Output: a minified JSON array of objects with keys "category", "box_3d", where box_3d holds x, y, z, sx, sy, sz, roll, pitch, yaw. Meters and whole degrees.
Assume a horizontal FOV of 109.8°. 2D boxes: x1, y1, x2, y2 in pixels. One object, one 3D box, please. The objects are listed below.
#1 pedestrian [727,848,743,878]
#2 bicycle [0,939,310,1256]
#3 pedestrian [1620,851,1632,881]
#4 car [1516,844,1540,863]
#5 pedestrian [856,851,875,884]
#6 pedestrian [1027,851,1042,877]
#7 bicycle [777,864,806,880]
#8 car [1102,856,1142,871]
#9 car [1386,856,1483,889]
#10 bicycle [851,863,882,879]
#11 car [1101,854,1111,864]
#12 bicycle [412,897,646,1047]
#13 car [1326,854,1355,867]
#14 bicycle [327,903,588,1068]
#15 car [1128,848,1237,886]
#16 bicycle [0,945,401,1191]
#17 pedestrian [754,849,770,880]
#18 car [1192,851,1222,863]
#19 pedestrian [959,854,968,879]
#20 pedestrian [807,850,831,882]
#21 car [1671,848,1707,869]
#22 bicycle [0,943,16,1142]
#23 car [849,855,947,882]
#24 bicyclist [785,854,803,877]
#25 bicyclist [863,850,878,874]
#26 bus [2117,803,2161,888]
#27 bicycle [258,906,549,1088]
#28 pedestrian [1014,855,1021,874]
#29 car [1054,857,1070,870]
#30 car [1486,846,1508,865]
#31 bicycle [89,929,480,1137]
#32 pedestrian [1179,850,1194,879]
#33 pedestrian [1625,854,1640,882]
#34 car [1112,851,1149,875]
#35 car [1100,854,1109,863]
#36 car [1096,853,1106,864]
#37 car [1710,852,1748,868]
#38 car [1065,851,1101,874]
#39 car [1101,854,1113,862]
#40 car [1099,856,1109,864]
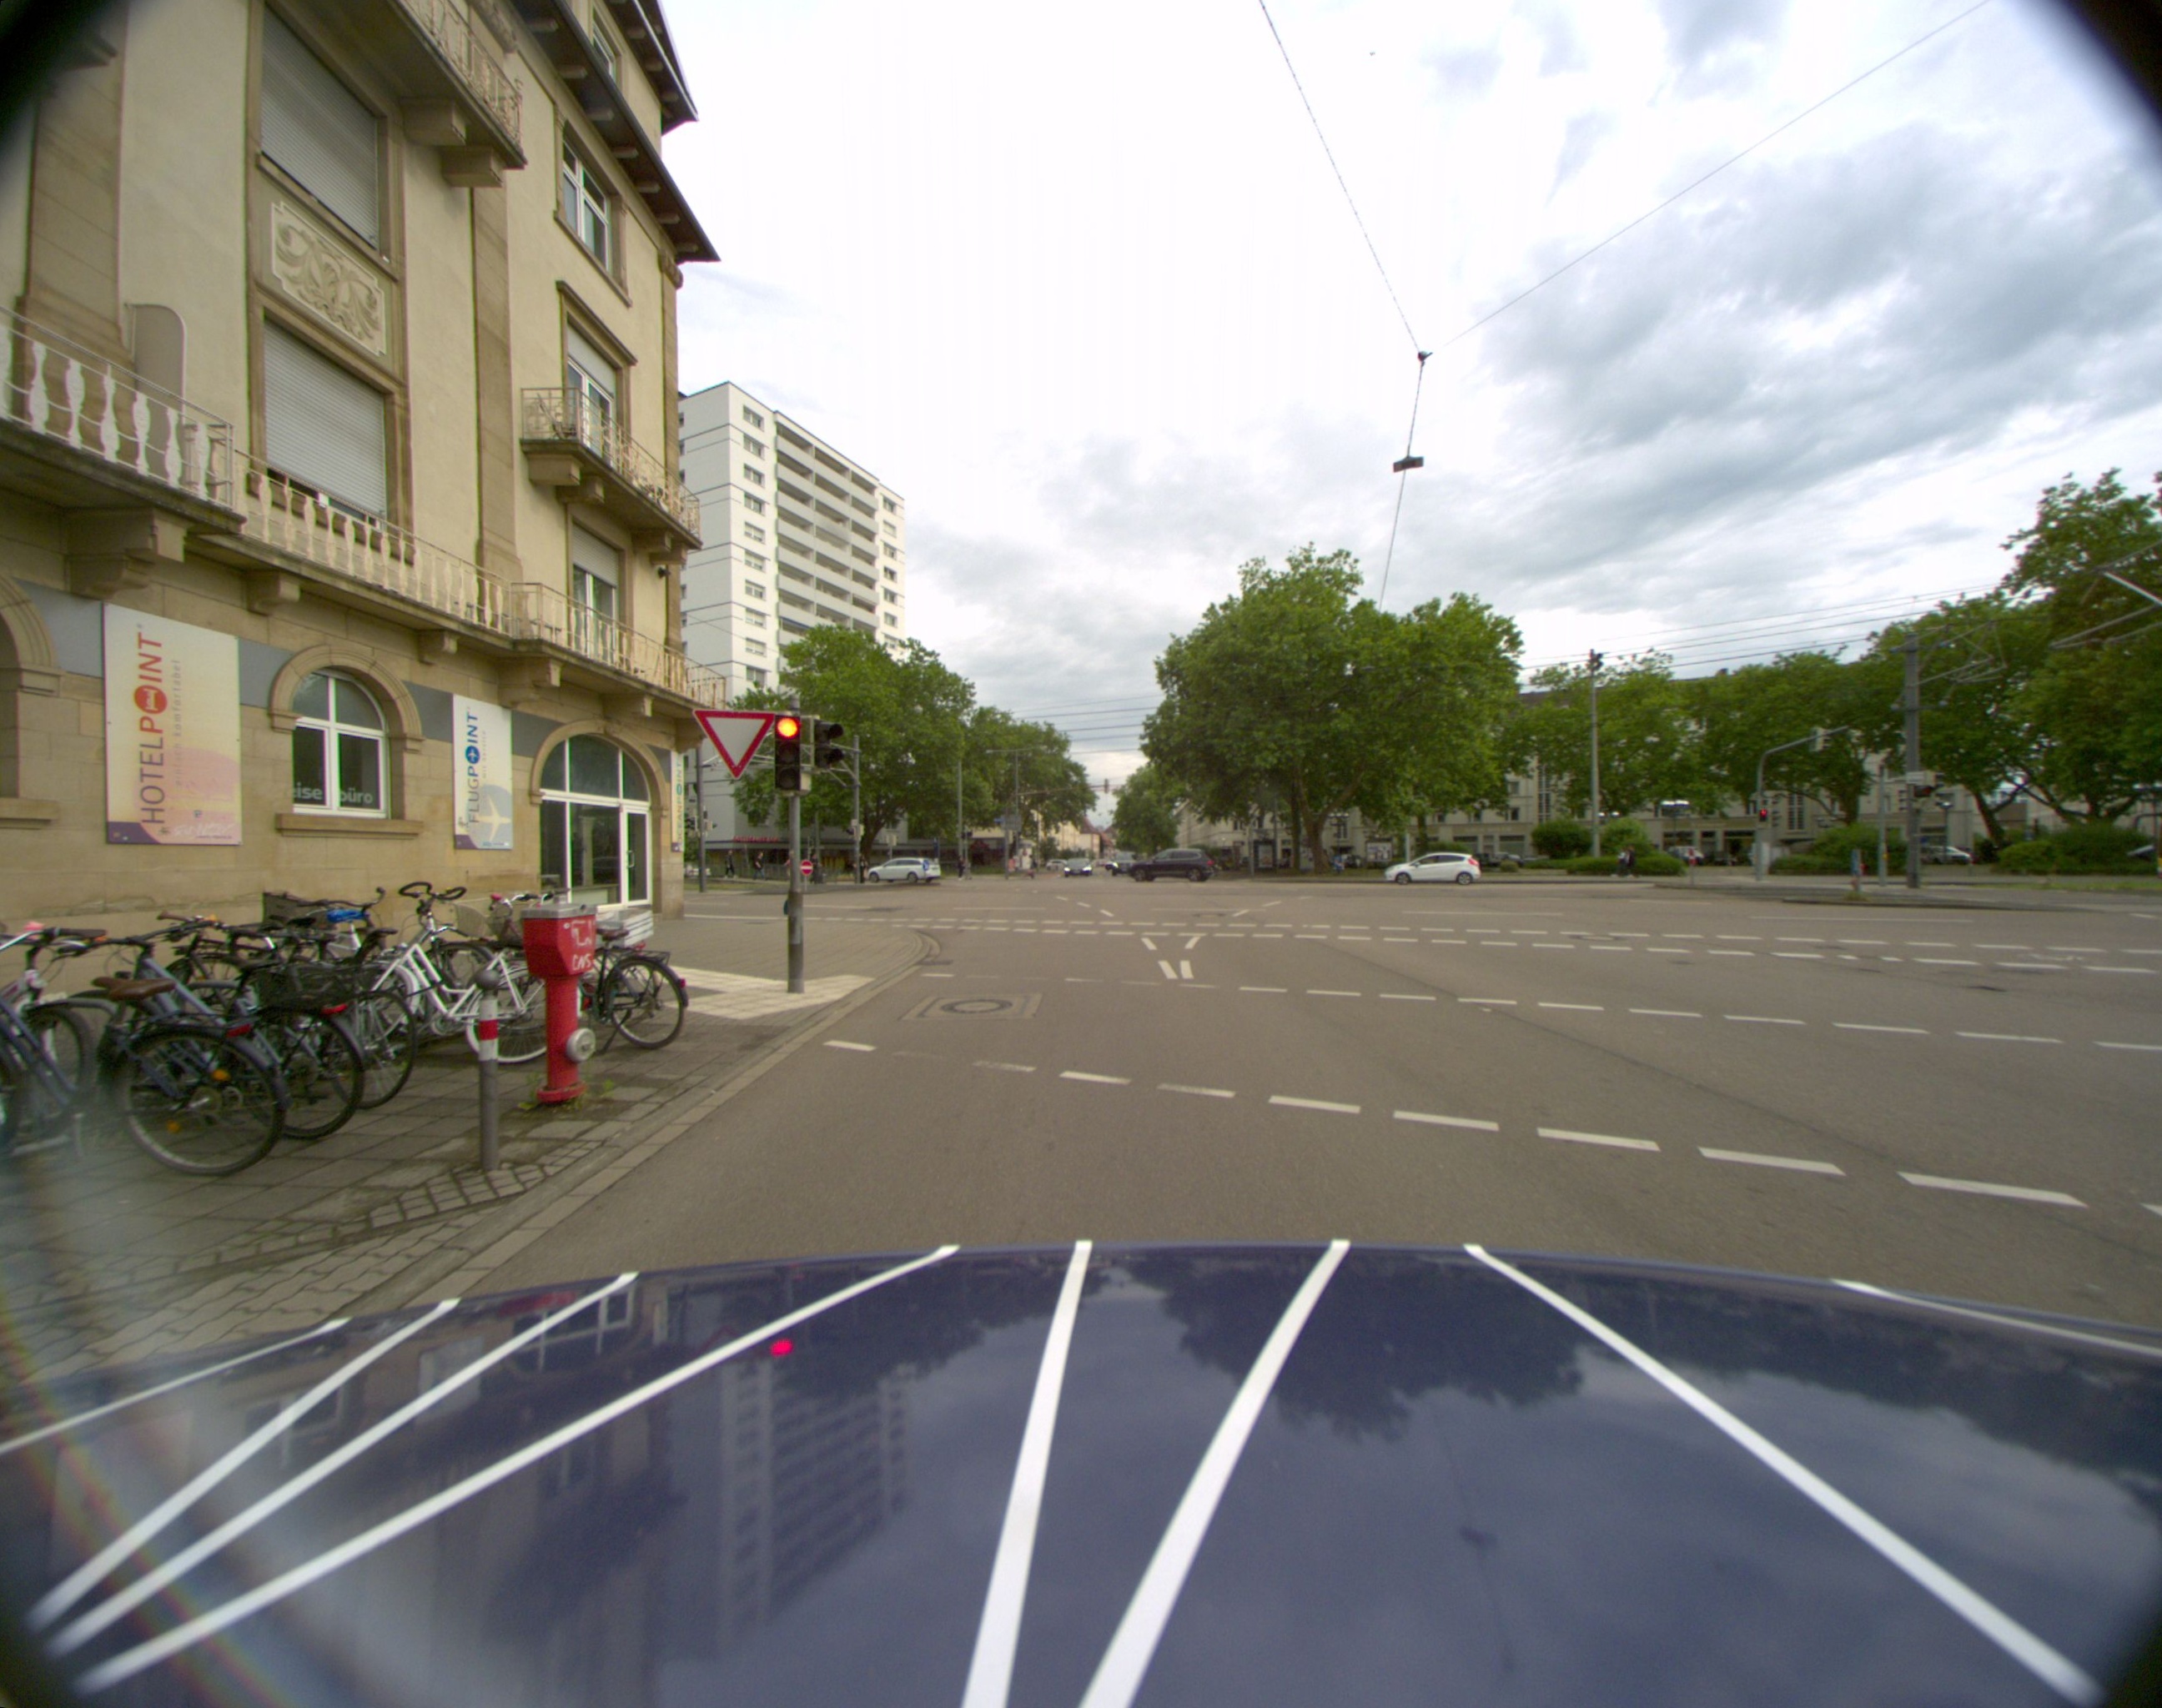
[{"category":"pedestrian","box_3d":[-20.675,0.557,45.416,0.533,1.779,0.623,-1,2,25]},{"category":"bicycle","box_3d":[-4.333,0.993,3.246,1.571,1.166,0.476,2,2,-1]},{"category":"pedestrian","box_3d":[26.522,0.580,36.992,0.373,1.470,0.362,-1,1,18]},{"category":"car","box_3d":[48.034,-0.029,81.726,1.995,2.002,4.007,0,0,27]},{"category":"pedestrian","box_3d":[-11.659,0.746,41.114,0.626,1.740,0.657,0,2,27]},{"category":"pedestrian","box_3d":[-3.137,0.675,51.148,0.754,1.680,0.808,-1,1,20]},{"category":"bicycle","box_3d":[-20.573,1.278,54.061,1.988,1.058,0.731,0,-1,24]},{"category":"car","box_3d":[4.949,1.142,90.815,4.842,1.654,1.994,-1,0,-43]},{"category":"car","box_3d":[15.916,0.827,34.302,3.880,1.390,1.710,-1,2,25]},{"category":"bicycle","box_3d":[-14.320,1.125,50.762,1.988,1.058,0.731,0,-1,25]},{"category":"car","box_3d":[5.831,1.162,178.112,1.998,2.002,4.000,-1,1,5]},{"category":"bicycle","box_3d":[-4.538,0.957,6.294,1.571,1.121,0.476,2,2,-1]},{"category":"car","box_3d":[27.076,0.660,79.486,1.997,1.381,4.835,-1,0,8]},{"category":"bicycle","box_3d":[-4.710,0.980,5.791,1.571,1.121,0.476,2,2,-1]},{"category":"car","box_3d":[5.110,0.631,38.280,5.136,1.773,1.710,-1,2,25]},{"category":"bicycle","box_3d":[-4.460,1.025,3.758,1.737,1.033,0.476,2,2,-1]},{"category":"pedestrian","box_3d":[-18.294,0.609,43.568,0.547,1.741,0.623,-1,2,25]},{"category":"car","box_3d":[15.978,0.402,96.735,1.805,1.477,3.991,-1,0,-25]},{"category":"pedestrian","box_3d":[-7.674,0.812,49.674,0.524,1.603,0.526,-2,2,-7]},{"category":"pedestrian","box_3d":[-14.164,0.654,41.073,0.876,1.686,0.744,-1,2,25]},{"category":"car","box_3d":[60.833,0.415,76.074,1.995,2.002,4.007,0,0,27]},{"category":"bicycle","box_3d":[-6.489,0.959,3.754,1.737,1.033,0.476,2,2,-1]},{"category":"car","box_3d":[-10.927,0.870,45.374,5.688,1.516,1.850,-1,-1,23]},{"category":"bicyclist","box_3d":[-20.381,0.829,53.982,0.992,1.627,0.709,-1,-1,24]},{"category":"bicyclist","box_3d":[-14.071,0.548,50.732,0.755,1.552,0.586,-1,-1,25]},{"category":"bus","box_3d":[41.657,-0.371,22.842,12.349,2.840,3.297,-1,2,25]},{"category":"bicycle","box_3d":[-4.662,0.970,5.276,1.571,1.121,0.476,2,2,-1]},{"category":"pedestrian","box_3d":[-4.596,0.793,55.190,0.417,1.357,0.391,-1,2,-3]},{"category":"car","box_3d":[-2.559,1.211,101.476,1.998,1.543,3.908,-1,1,0]},{"category":"car","box_3d":[45.754,0.120,83.549,1.995,2.002,4.007,0,0,27]},{"category":"bicycle","box_3d":[-4.554,1.010,4.405,1.737,1.033,0.476,2,2,-1]},{"category":"pedestrian","box_3d":[7.024,0.709,50.688,0.690,1.876,0.687,-2,2,-28]},{"category":"pedestrian","box_3d":[26.285,0.658,36.215,0.469,1.318,0.457,-1,1,18]},{"category":"car","box_3d":[3.750,0.692,57.133,1.909,1.708,3.746,-1,-2,18]},{"category":"car","box_3d":[5.780,1.183,184.046,1.998,2.002,4.000,-1,1,5]},{"category":"car","box_3d":[3.968,0.887,152.452,1.998,2.002,3.999,-1,1,1]},{"category":"car","box_3d":[64.091,0.600,75.184,1.995,1.565,4.007,0,0,27]},{"category":"car","box_3d":[0.215,0.675,57.886,1.660,1.708,3.746,-1,-2,18]},{"category":"car","box_3d":[6.845,0.981,199.498,1.996,2.002,4.004,-1,2,16]},{"category":"car","box_3d":[5.109,1.330,171.654,1.998,1.790,4.000,-1,1,5]}]
